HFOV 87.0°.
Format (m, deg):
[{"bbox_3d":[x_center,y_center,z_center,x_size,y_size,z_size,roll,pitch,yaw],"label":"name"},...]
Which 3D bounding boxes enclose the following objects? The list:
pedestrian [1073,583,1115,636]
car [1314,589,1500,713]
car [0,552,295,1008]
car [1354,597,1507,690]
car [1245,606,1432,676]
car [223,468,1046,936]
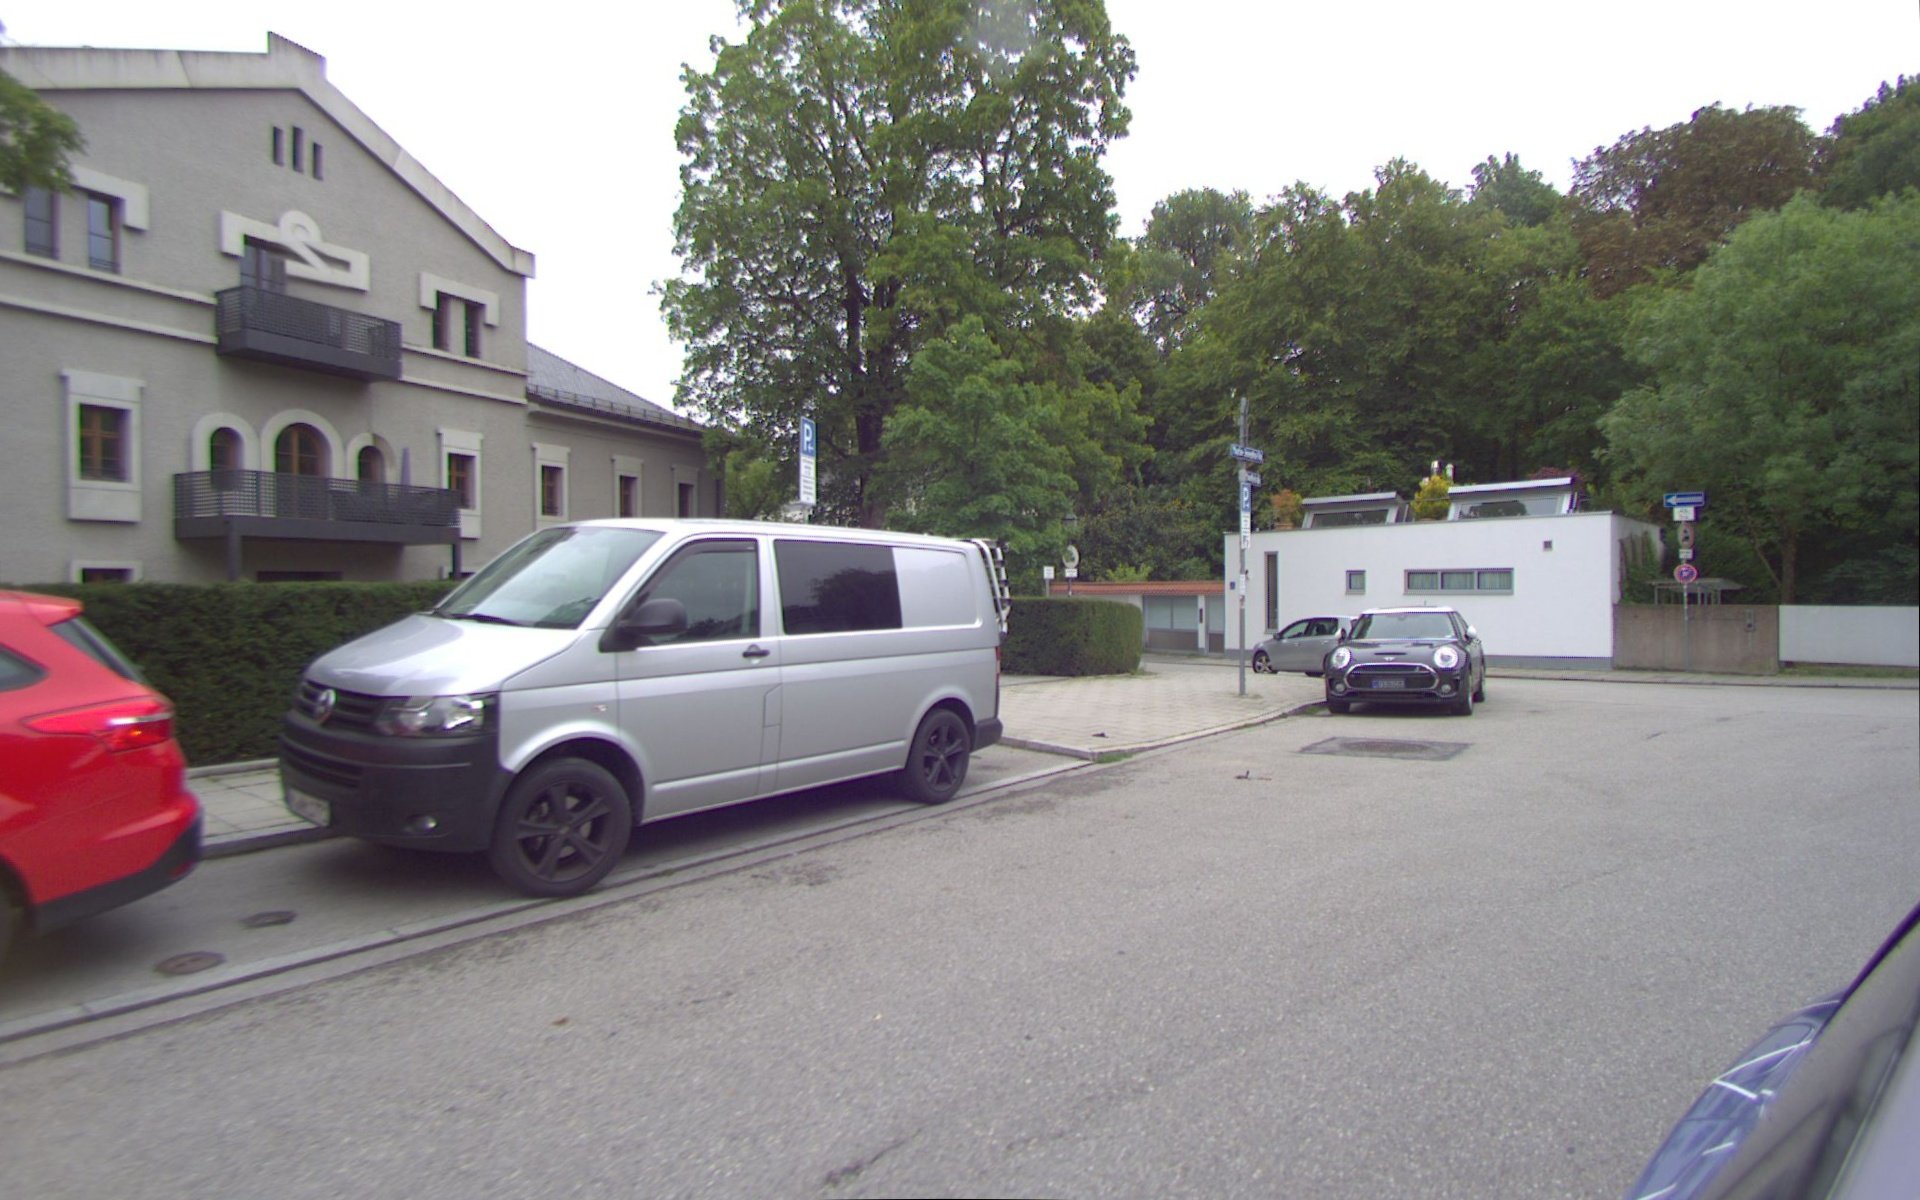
[{"bbox_3d":[4.995,0.348,37.784,0.935,1.956,1.230,0,-1,-40],"label":"pedestrian"},{"bbox_3d":[6.406,0.667,14.228,1.881,1.465,4.222,-3,-2,30],"label":"car"},{"bbox_3d":[-4.854,0.584,2.727,1.865,1.525,4.776,3,2,35],"label":"car"},{"bbox_3d":[8.360,0.786,18.355,1.871,1.465,3.992,-2,-3,16],"label":"car"},{"bbox_3d":[8.545,0.927,23.225,1.900,1.465,4.022,2,-2,-19],"label":"car"},{"bbox_3d":[-1.617,0.375,6.750,1.931,1.928,5.002,3,2,38],"label":"car"}]
